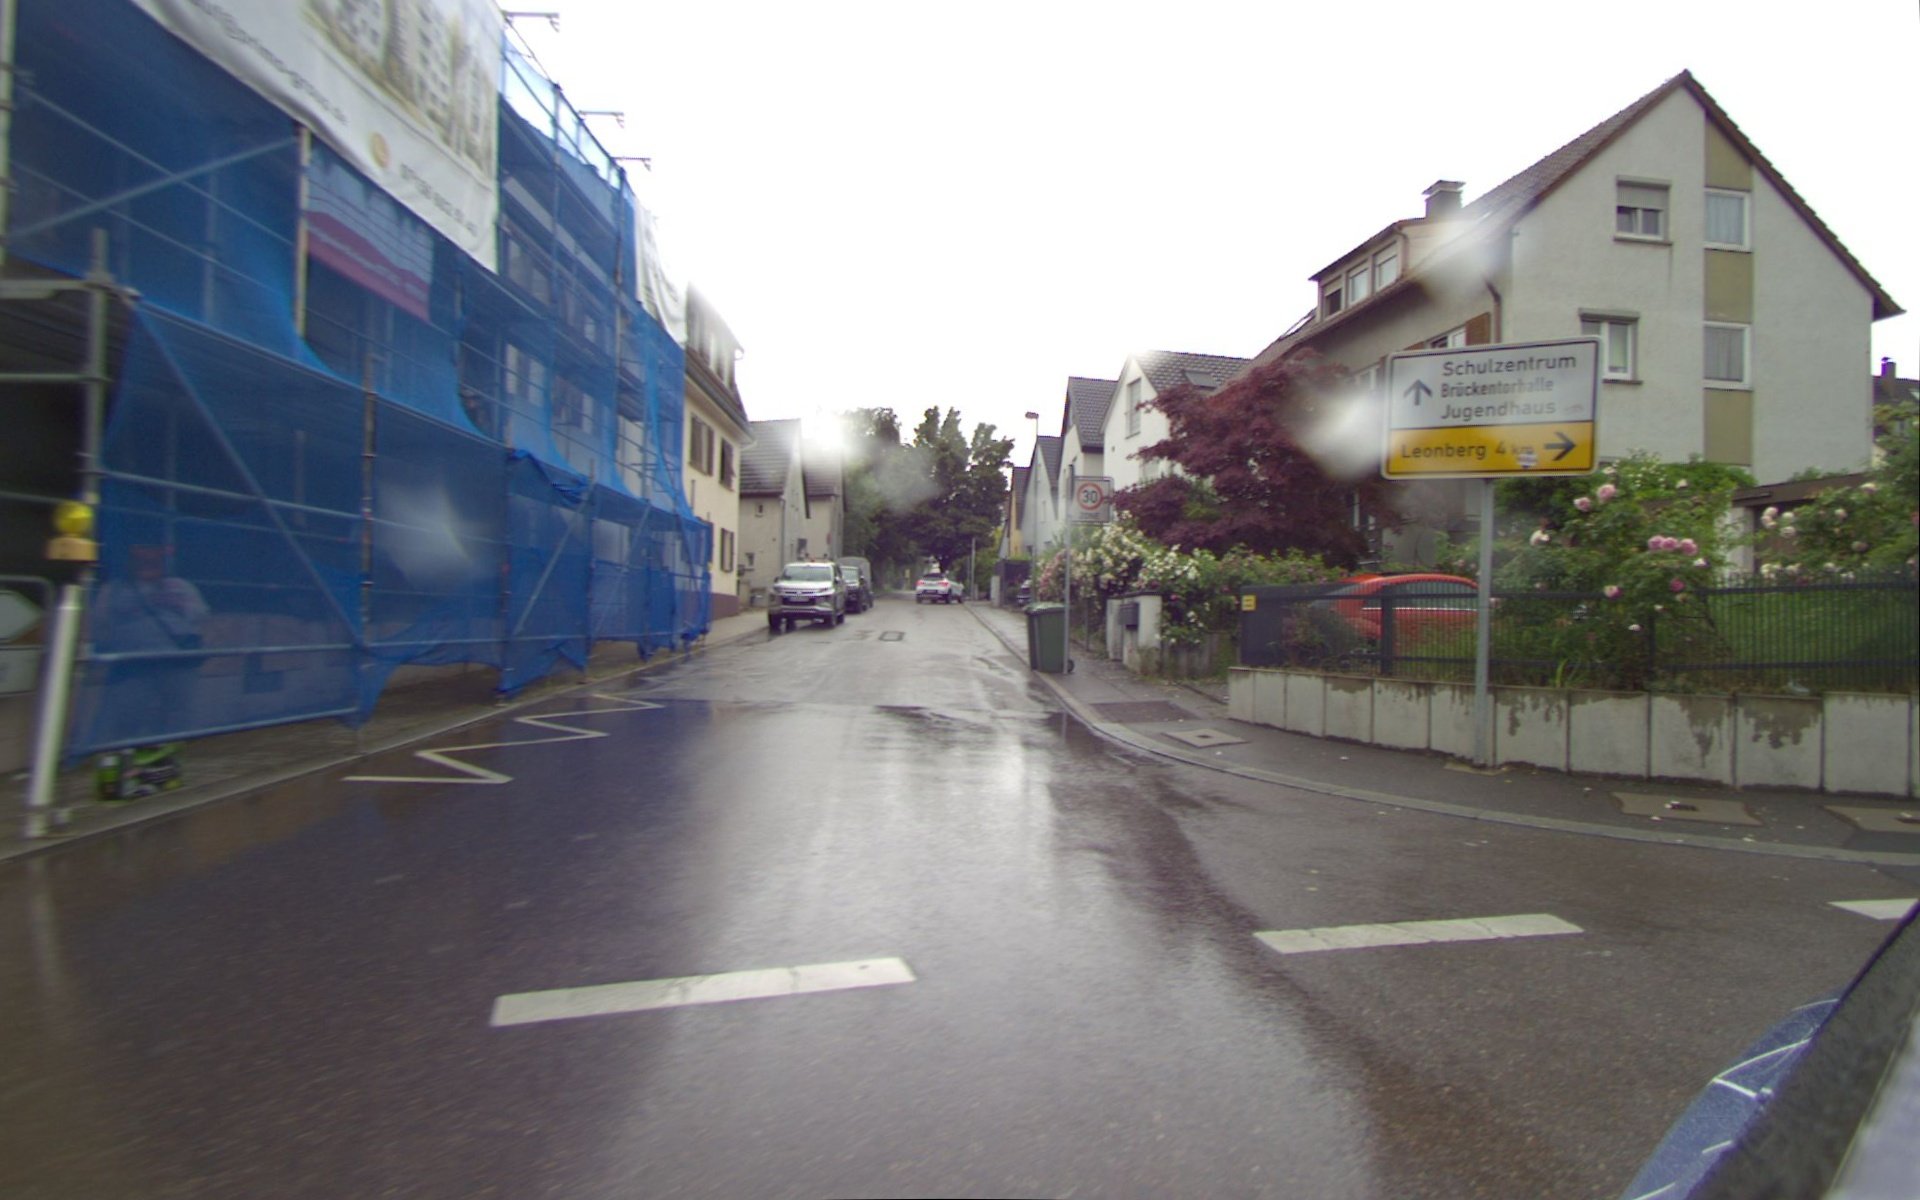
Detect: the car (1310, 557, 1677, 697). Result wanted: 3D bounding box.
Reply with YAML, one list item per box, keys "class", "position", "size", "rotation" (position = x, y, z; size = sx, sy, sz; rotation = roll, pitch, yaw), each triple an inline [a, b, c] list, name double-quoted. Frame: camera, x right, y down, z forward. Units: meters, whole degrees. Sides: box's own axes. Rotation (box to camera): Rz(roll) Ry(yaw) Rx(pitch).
- class: "car"
  position: [6.888, 0.317, 13.260]
  size: [3.918, 1.619, 1.724]
  rotation: [2, 1, -8]

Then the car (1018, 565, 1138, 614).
- class: "car"
  position: [4.220, -0.380, 36.479]
  size: [3.916, 1.727, 1.785]
  rotation: [0, 1, -12]

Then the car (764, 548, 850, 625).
- class: "car"
  position: [-4.218, -0.409, 28.602]
  size: [1.794, 2.000, 4.518]
  rotation: [1, 1, -1]

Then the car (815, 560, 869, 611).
- class: "car"
  position: [-4.427, -0.575, 38.432]
  size: [1.792, 1.819, 4.521]
  rotation: [0, 1, -4]

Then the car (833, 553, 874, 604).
- class: "car"
  position: [-4.692, -0.956, 44.773]
  size: [1.677, 2.128, 3.945]
  rotation: [0, 1, -5]

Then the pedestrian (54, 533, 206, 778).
- class: "pedestrian"
  position: [-5.666, 0.364, 6.930]
  size: [0.643, 1.600, 0.437]
  rotation: [2, 1, -1]

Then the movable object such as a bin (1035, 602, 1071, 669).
- class: "movable object such as a bin"
  position: [1.481, 0.559, 16.167]
  size: [0.512, 1.039, 0.415]
  rotation: [1, 1, 0]

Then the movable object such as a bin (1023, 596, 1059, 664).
- class: "movable object such as a bin"
  position: [1.337, 0.490, 16.669]
  size: [0.512, 1.062, 0.415]
  rotation: [-3, 1, 0]

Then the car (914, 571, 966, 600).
- class: "car"
  position: [-1.012, -0.781, 52.411]
  size: [1.741, 1.371, 3.662]
  rotation: [2, 2, 14]
